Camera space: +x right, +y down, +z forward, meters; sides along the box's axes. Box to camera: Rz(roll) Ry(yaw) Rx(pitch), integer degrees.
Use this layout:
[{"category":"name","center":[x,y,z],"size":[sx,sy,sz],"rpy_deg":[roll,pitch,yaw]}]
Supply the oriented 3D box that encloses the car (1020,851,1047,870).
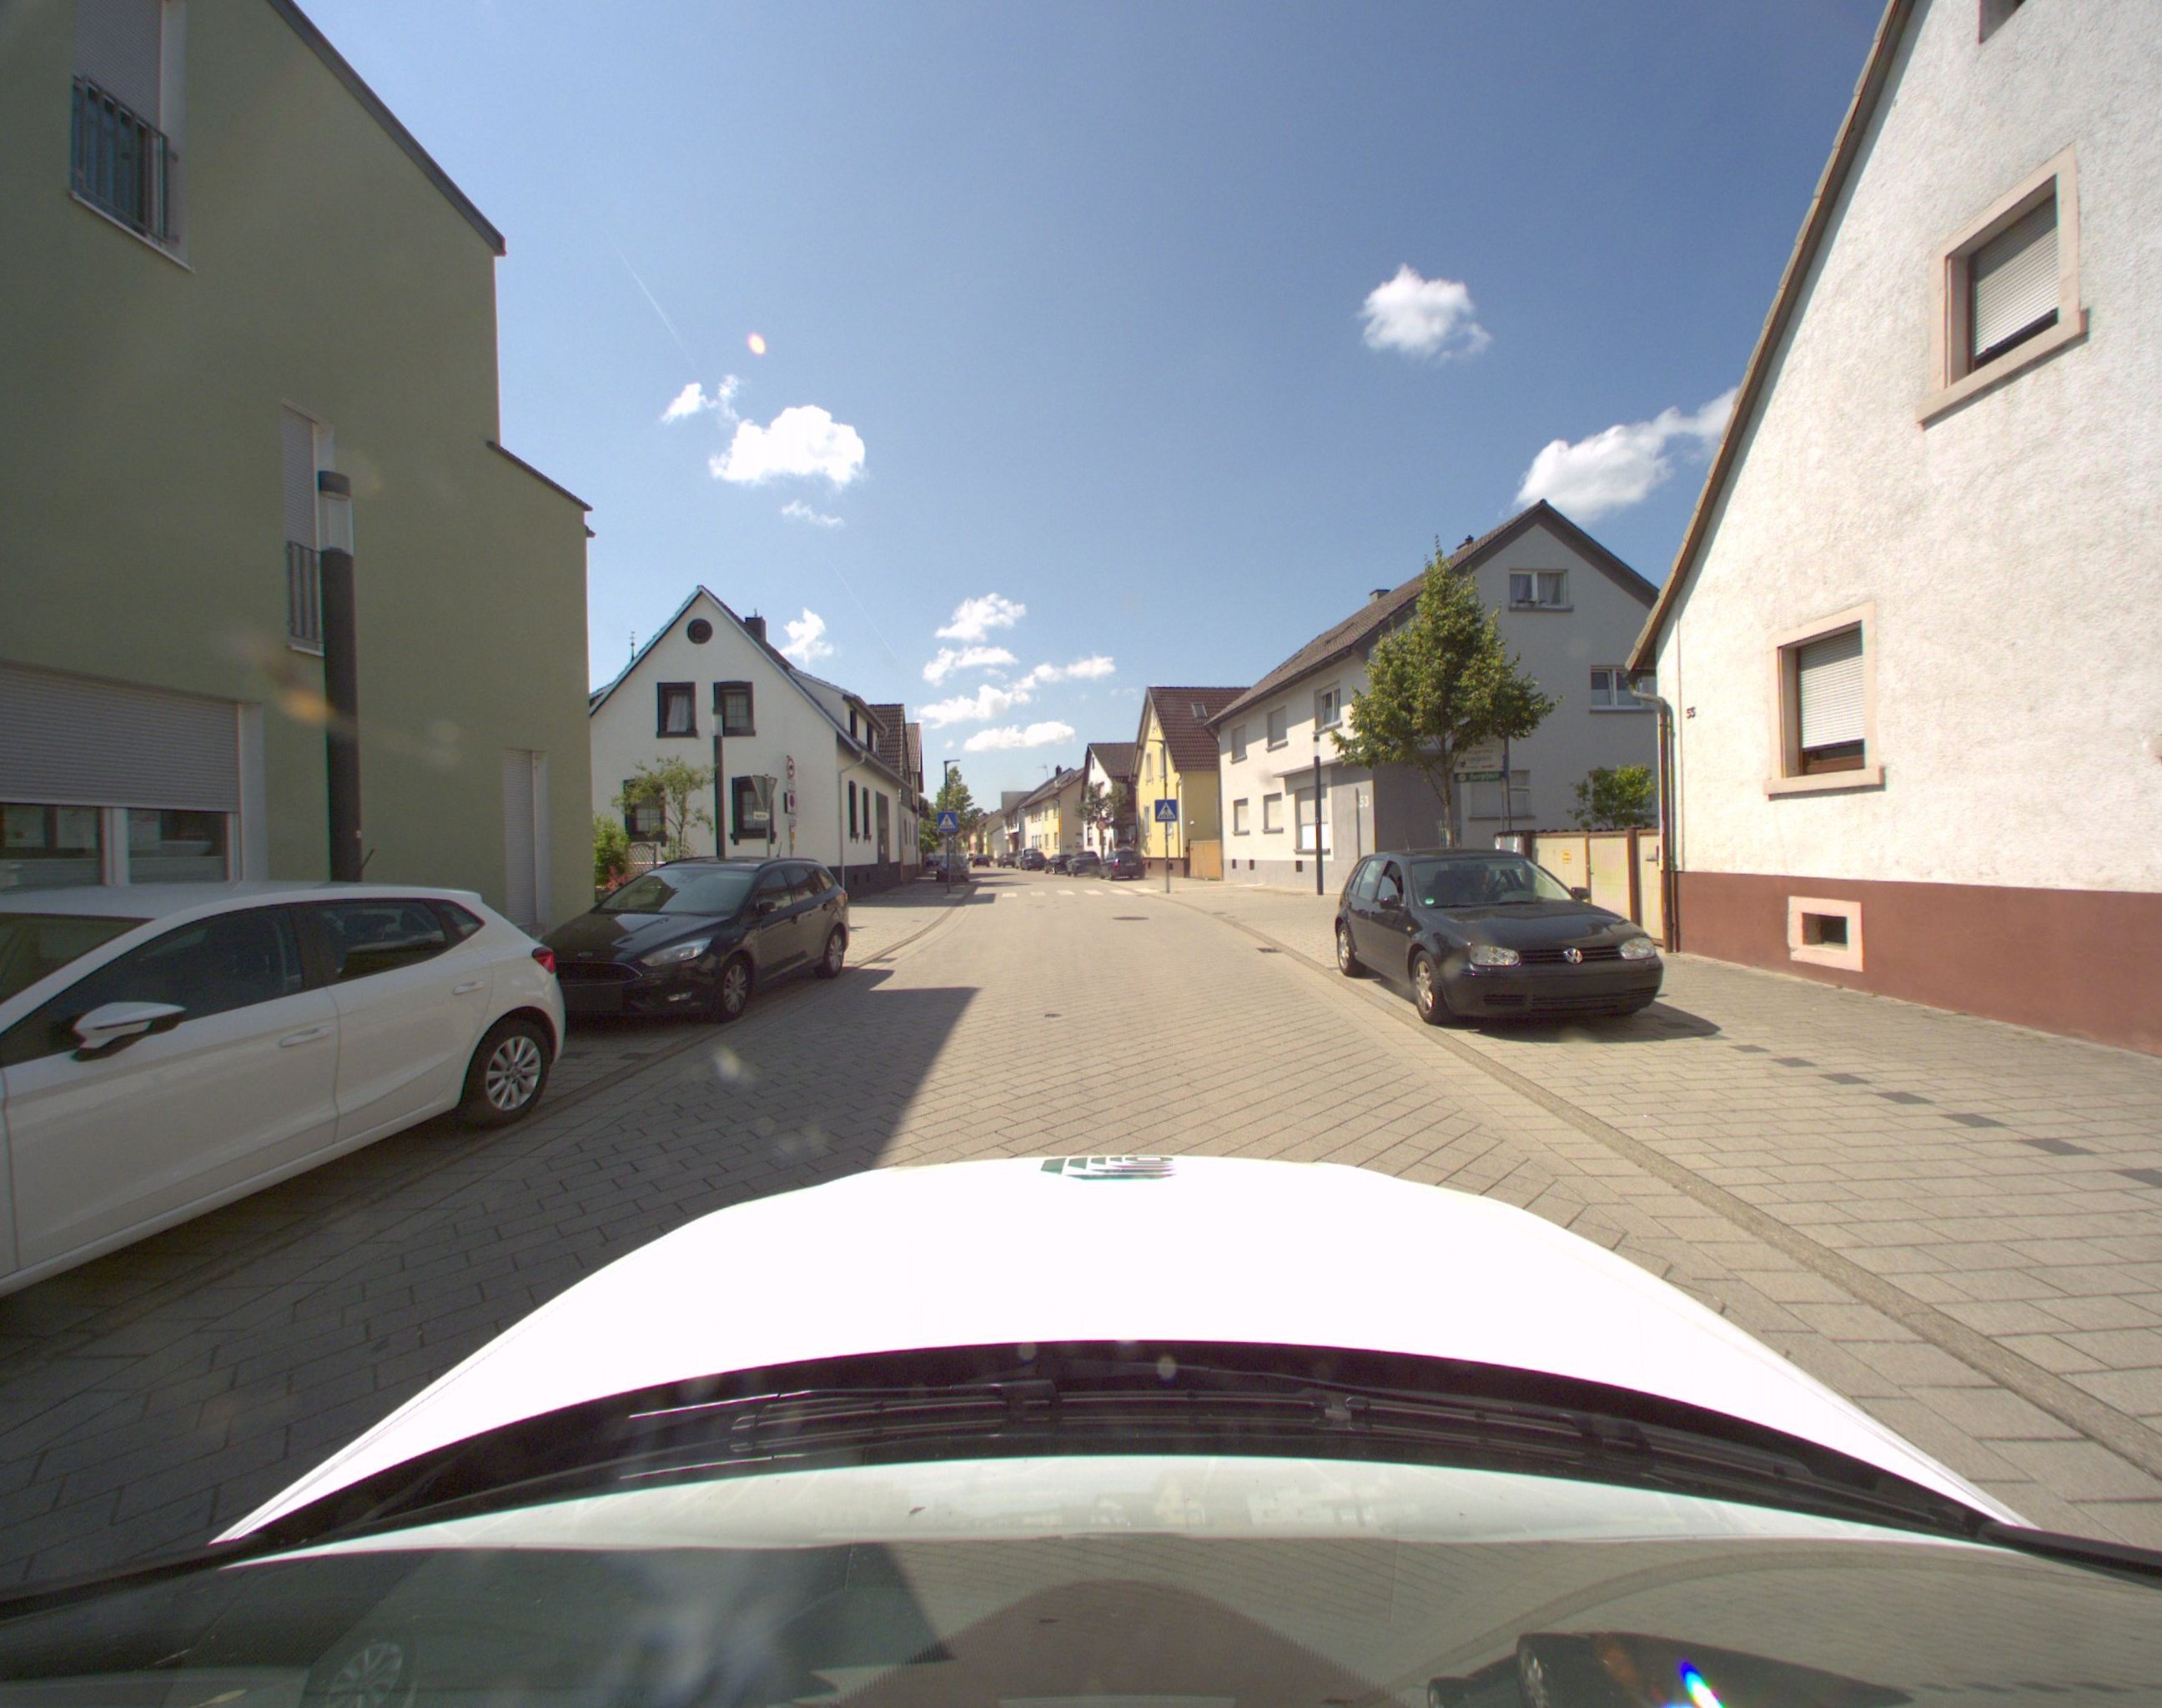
[{"category":"car","center":[-4.223,0.528,71.619],"size":[1.877,1.591,3.987],"rpy_deg":[-2,1,-9]}]

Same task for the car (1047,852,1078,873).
[{"category":"car","center":[-1.340,0.612,58.170],"size":[1.710,1.387,3.694],"rpy_deg":[-2,1,-9]}]

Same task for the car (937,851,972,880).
[{"category":"car","center":[-7.079,0.625,45.724],"size":[1.745,1.530,3.991],"rpy_deg":[0,0,-7]}]

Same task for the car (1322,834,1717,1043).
[{"category":"car","center":[3.761,0.592,7.932],"size":[1.752,1.438,4.123],"rpy_deg":[-3,0,3]}]

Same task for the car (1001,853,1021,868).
[{"category":"car","center":[-7.453,0.627,86.055],"size":[1.754,1.492,3.987],"rpy_deg":[-2,1,-9]}]

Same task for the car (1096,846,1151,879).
[{"category":"car","center":[2.082,0.404,41.187],"size":[1.829,1.471,4.262],"rpy_deg":[-4,0,-9]}]

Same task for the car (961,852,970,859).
[{"category":"car","center":[-23.291,0.256,164.333],"size":[1.688,1.452,3.780],"rpy_deg":[-2,1,-9]}]

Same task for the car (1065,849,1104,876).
[{"category":"car","center":[0.172,0.476,50.642],"size":[1.846,1.562,3.681],"rpy_deg":[-2,1,-9]}]

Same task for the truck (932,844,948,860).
[{"category":"truck","center":[-35.414,-0.546,204.470],"size":[3.568,3.953,8.545],"rpy_deg":[-2,1,-12]}]

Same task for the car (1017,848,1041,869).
[{"category":"car","center":[-4.948,0.379,77.216],"size":[1.906,1.871,3.987],"rpy_deg":[-2,1,-9]}]

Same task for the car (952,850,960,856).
[{"category":"car","center":[-30.163,-0.253,197.070],"size":[1.689,1.452,3.777],"rpy_deg":[-2,1,-12]}]

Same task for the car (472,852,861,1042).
[{"category":"car","center":[-3.938,0.747,8.727],"size":[1.806,1.490,4.280],"rpy_deg":[0,1,3]}]

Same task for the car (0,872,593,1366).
[{"category":"car","center":[-4.144,0.850,3.384],"size":[1.750,1.411,3.880],"rpy_deg":[0,1,3]}]

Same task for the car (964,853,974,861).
[{"category":"car","center":[-20.711,0.553,150.968],"size":[1.688,1.452,3.780],"rpy_deg":[-2,1,-9]}]

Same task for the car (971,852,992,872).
[{"category":"car","center":[-10.881,0.851,89.176],"size":[1.994,2.057,4.359],"rpy_deg":[-2,1,-10]}]
